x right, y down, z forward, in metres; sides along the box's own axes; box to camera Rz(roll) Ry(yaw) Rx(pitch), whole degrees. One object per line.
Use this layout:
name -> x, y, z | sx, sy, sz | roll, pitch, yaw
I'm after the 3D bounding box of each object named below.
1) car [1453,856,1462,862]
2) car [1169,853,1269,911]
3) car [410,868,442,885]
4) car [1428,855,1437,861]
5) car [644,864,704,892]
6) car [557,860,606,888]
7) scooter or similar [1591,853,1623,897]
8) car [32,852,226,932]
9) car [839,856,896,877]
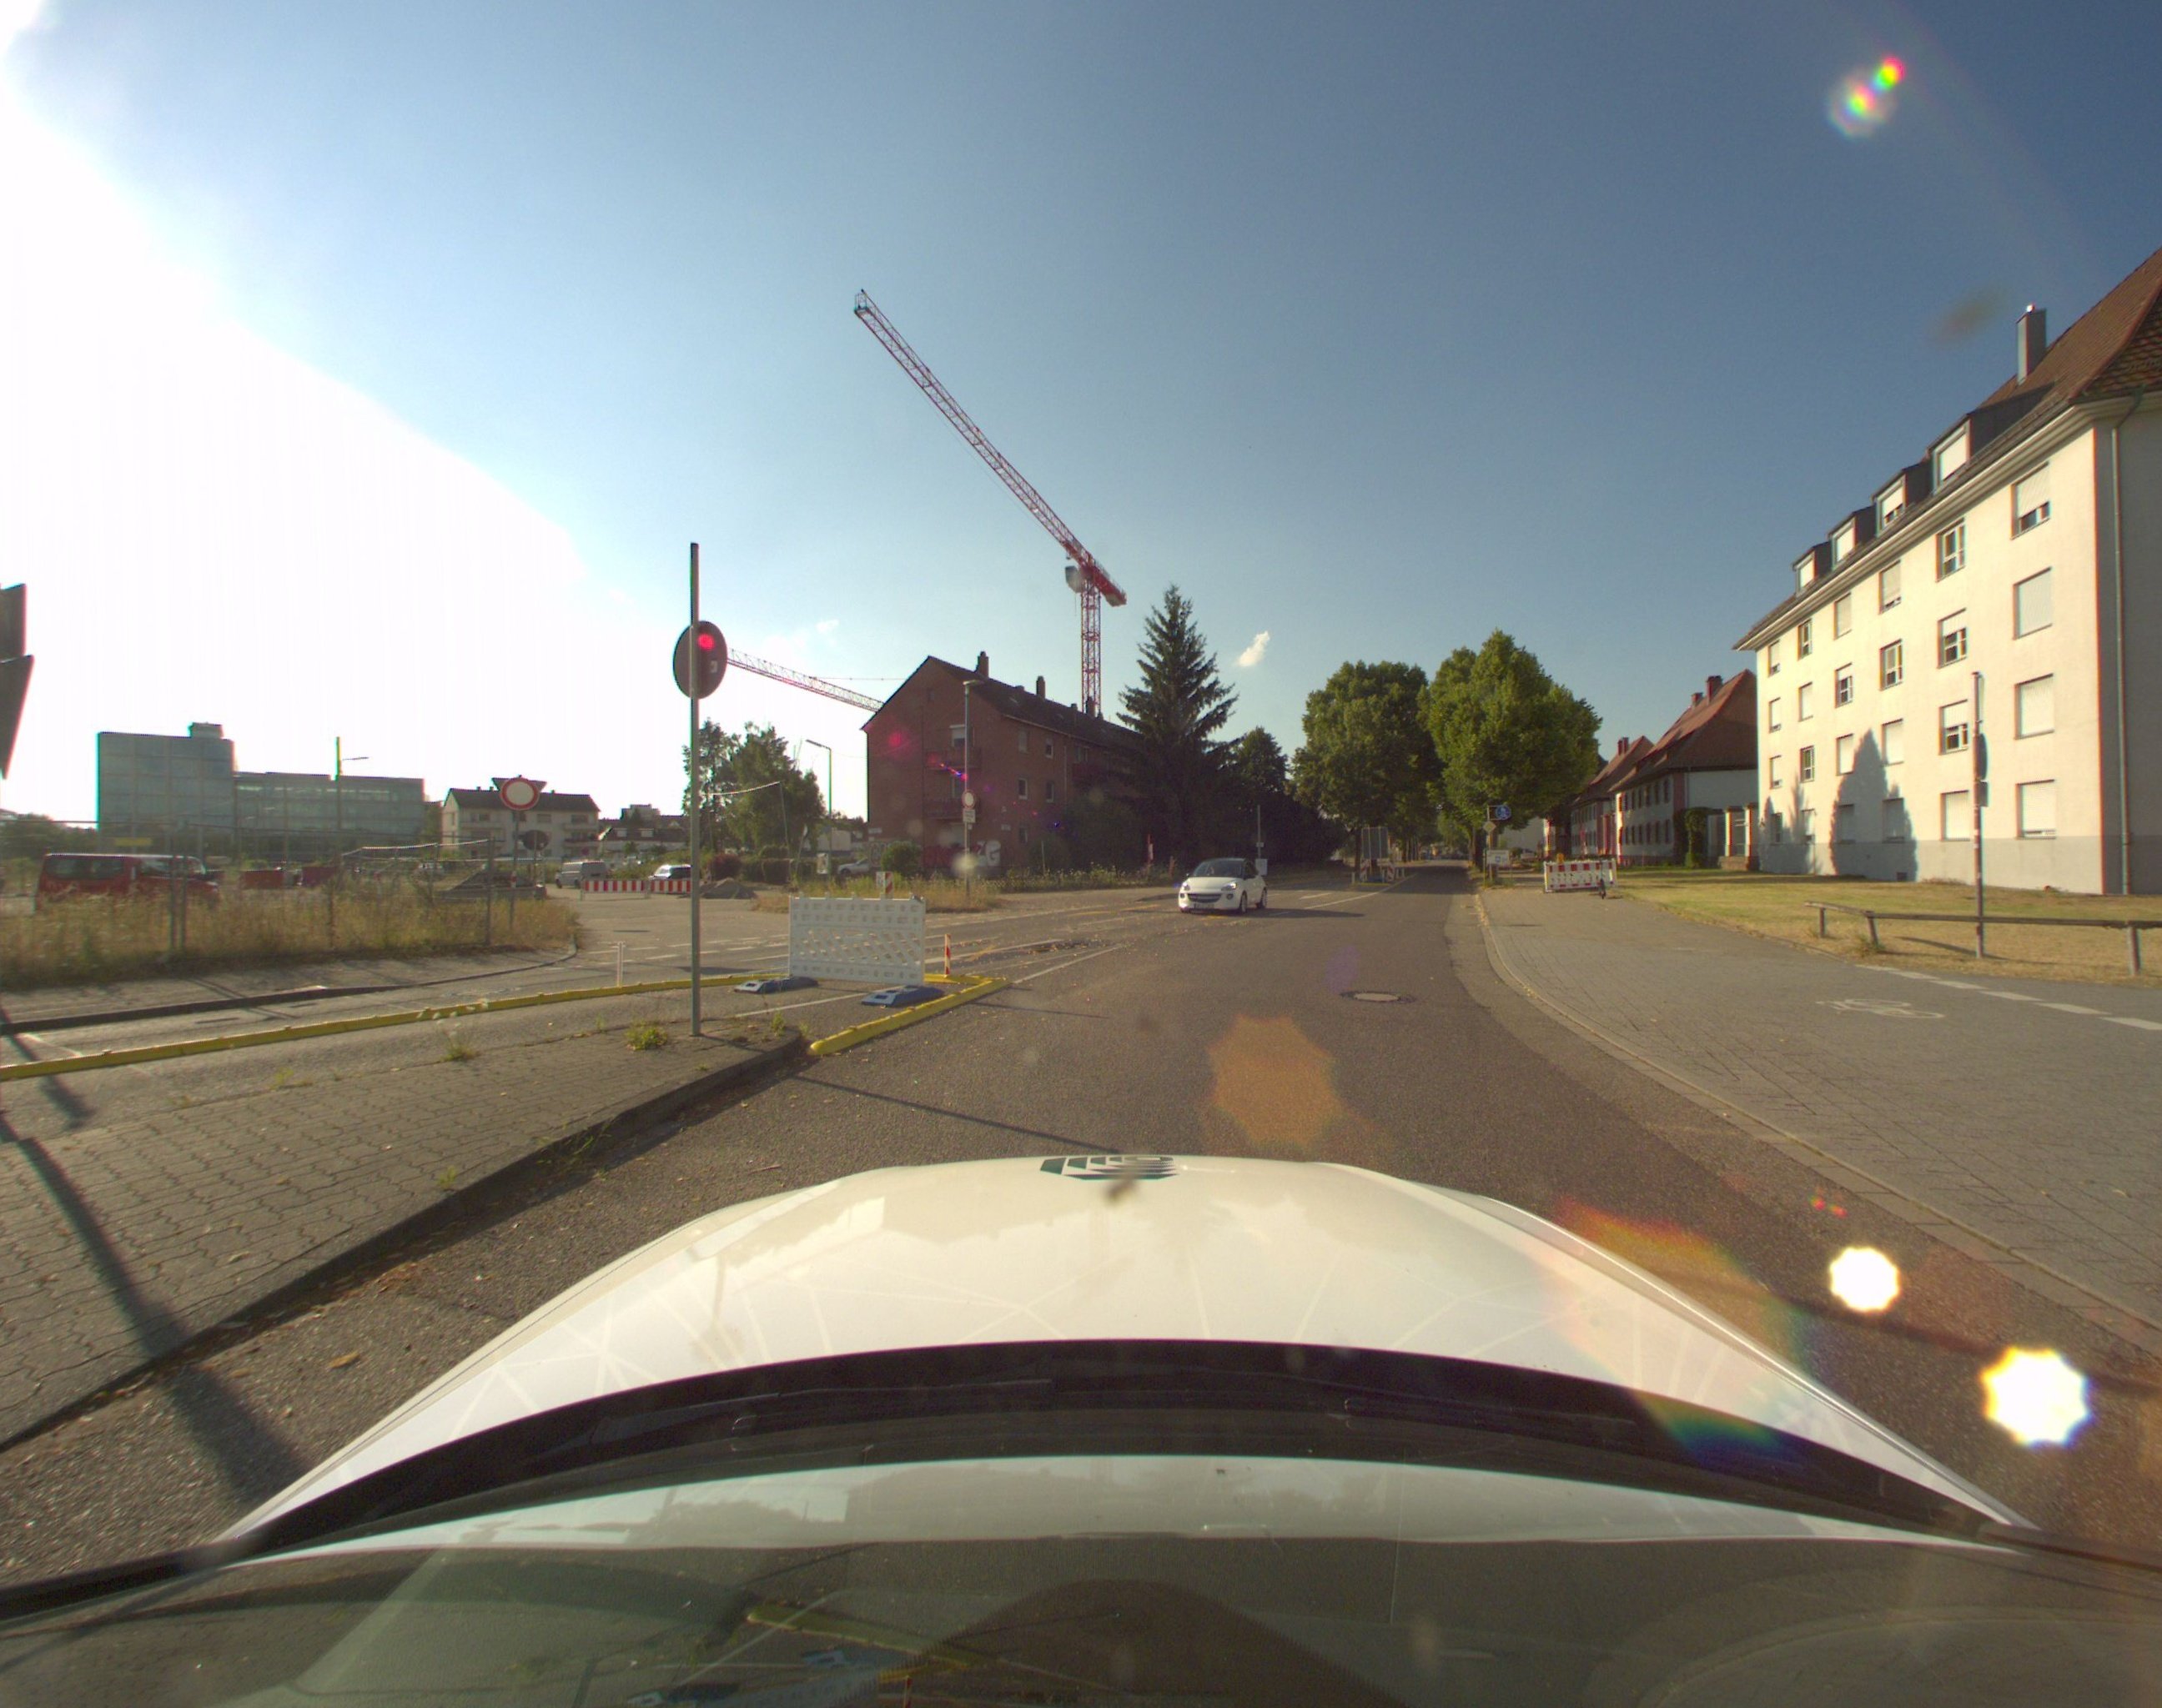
car -> 96.665, 1.256, 209.061 | 1.700, 1.486, 4.020 | -2, -2, 20
car -> 3.843, 0.703, 22.266 | 1.743, 1.421, 3.646 | 1, 0, 26
car -> -74.005, 2.556, 91.968 | 4.306, 1.838, 2.166 | -1, -1, 42
car -> 93.831, 1.033, 217.198 | 1.977, 1.688, 4.020 | -1, -1, 20
car -> -23.888, 1.366, 47.750 | 3.950, 1.552, 2.012 | -1, 0, 44
car -> -36.152, 1.431, 58.947 | 3.949, 1.948, 1.880 | -1, 0, 40
scooter or similar -> 16.492, 0.646, 25.558 | 0.554, 1.292, 1.471 | -6, -3, 25
car -> -27.064, 0.996, 23.437 | 2.006, 2.013, 5.261 | -1, 0, -31
car -> -16.216, 0.949, 61.997 | 3.983, 1.530, 1.995 | -1, 0, -7
